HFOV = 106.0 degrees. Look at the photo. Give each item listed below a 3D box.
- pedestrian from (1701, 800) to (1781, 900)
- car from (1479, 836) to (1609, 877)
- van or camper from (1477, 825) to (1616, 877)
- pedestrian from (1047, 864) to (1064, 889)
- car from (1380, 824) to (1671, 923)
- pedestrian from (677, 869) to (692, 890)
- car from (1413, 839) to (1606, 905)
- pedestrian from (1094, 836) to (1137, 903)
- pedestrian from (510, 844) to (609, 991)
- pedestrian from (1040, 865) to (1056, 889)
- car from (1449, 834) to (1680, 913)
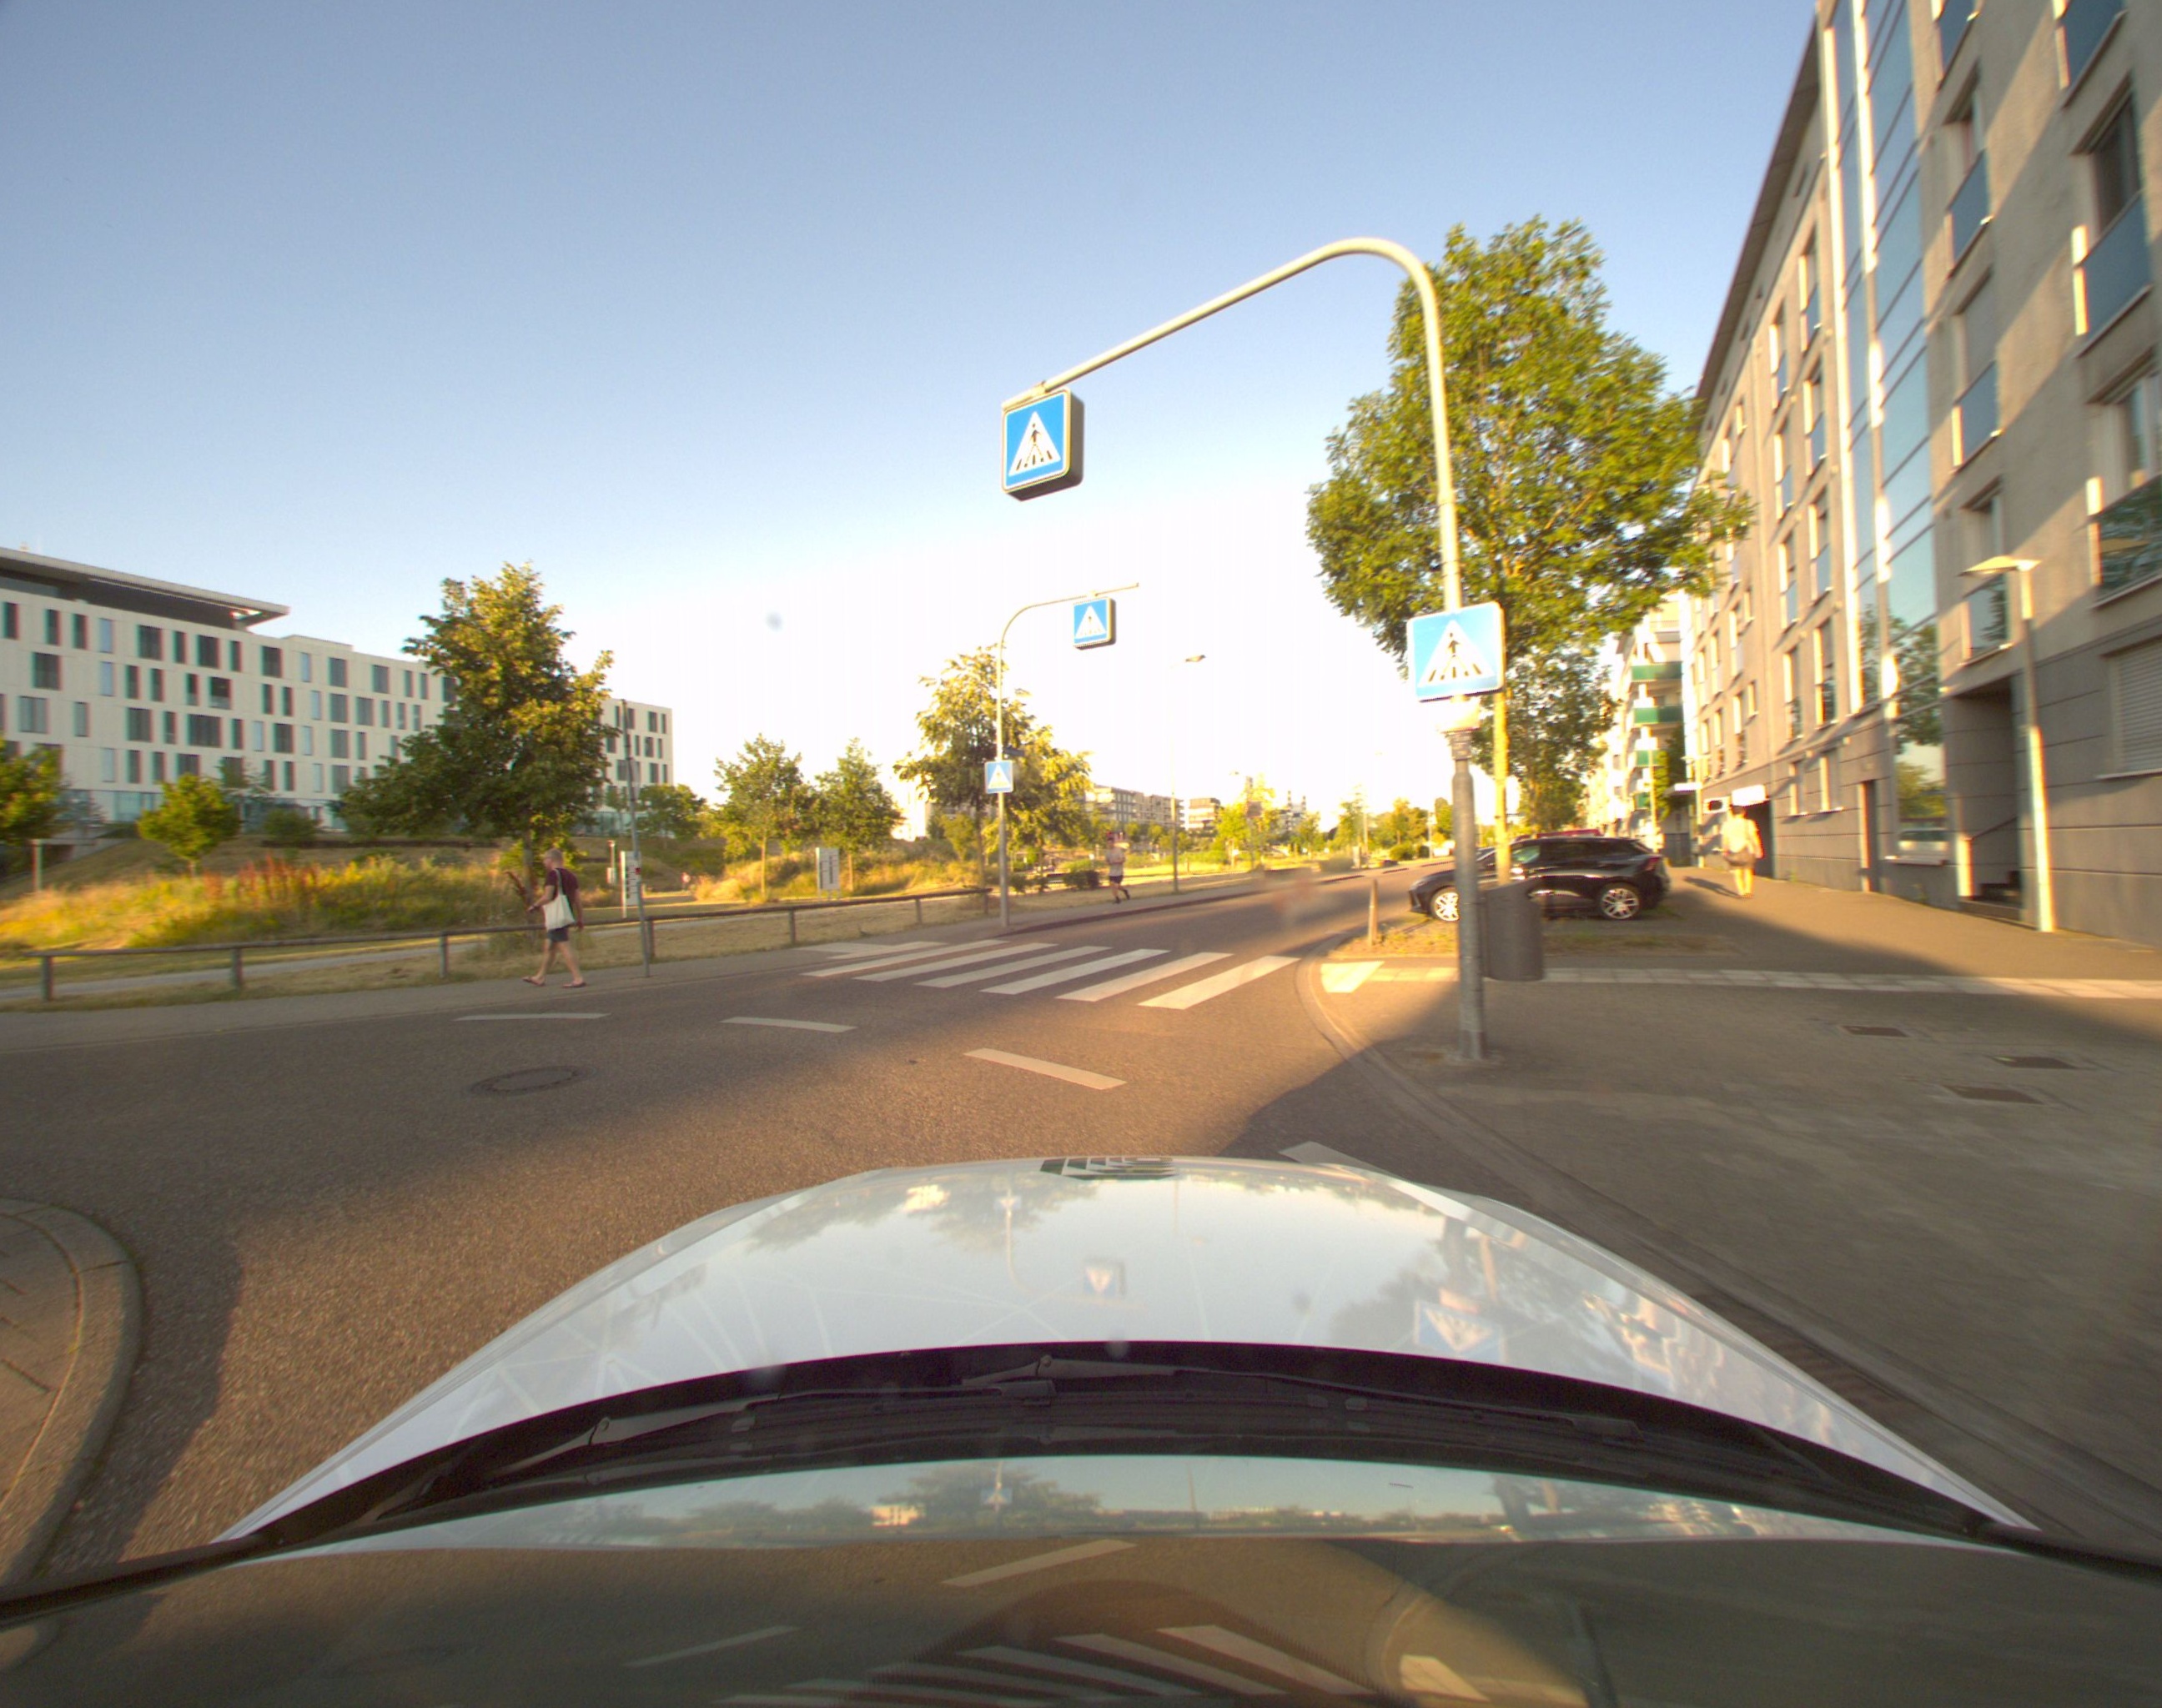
[{"bbox_3d":[13.242,-0.062,16.384,0.967,1.894,1.056,-4,-2,30],"label":"pedestrian"},{"bbox_3d":[18.512,0.125,32.722,4.410,1.521,1.712,-2,0,28],"label":"car"},{"bbox_3d":[19.992,-0.091,35.219,5.067,2.060,1.889,-2,0,28],"label":"van or camper"},{"bbox_3d":[-1.079,0.953,34.467,0.494,1.004,0.574,-2,0,25],"label":"pedestrian"},{"bbox_3d":[8.116,0.400,15.215,4.424,1.487,1.844,-5,-2,28],"label":"car"},{"bbox_3d":[-33.698,2.161,69.281,0.823,1.766,0.823,-2,-1,33],"label":"pedestrian"},{"bbox_3d":[10.431,0.440,20.008,4.005,1.479,1.712,-2,0,28],"label":"car"},{"bbox_3d":[0.909,0.396,21.387,0.757,1.730,0.807,-2,-1,34],"label":"pedestrian"},{"bbox_3d":[-6.633,0.774,10.368,0.792,1.784,0.739,-2,-1,28],"label":"pedestrian"},{"bbox_3d":[-1.370,0.958,33.827,0.494,1.004,0.484,-2,0,25],"label":"pedestrian"},{"bbox_3d":[10.082,0.435,17.275,3.955,1.374,1.569,-5,-1,28],"label":"car"}]
